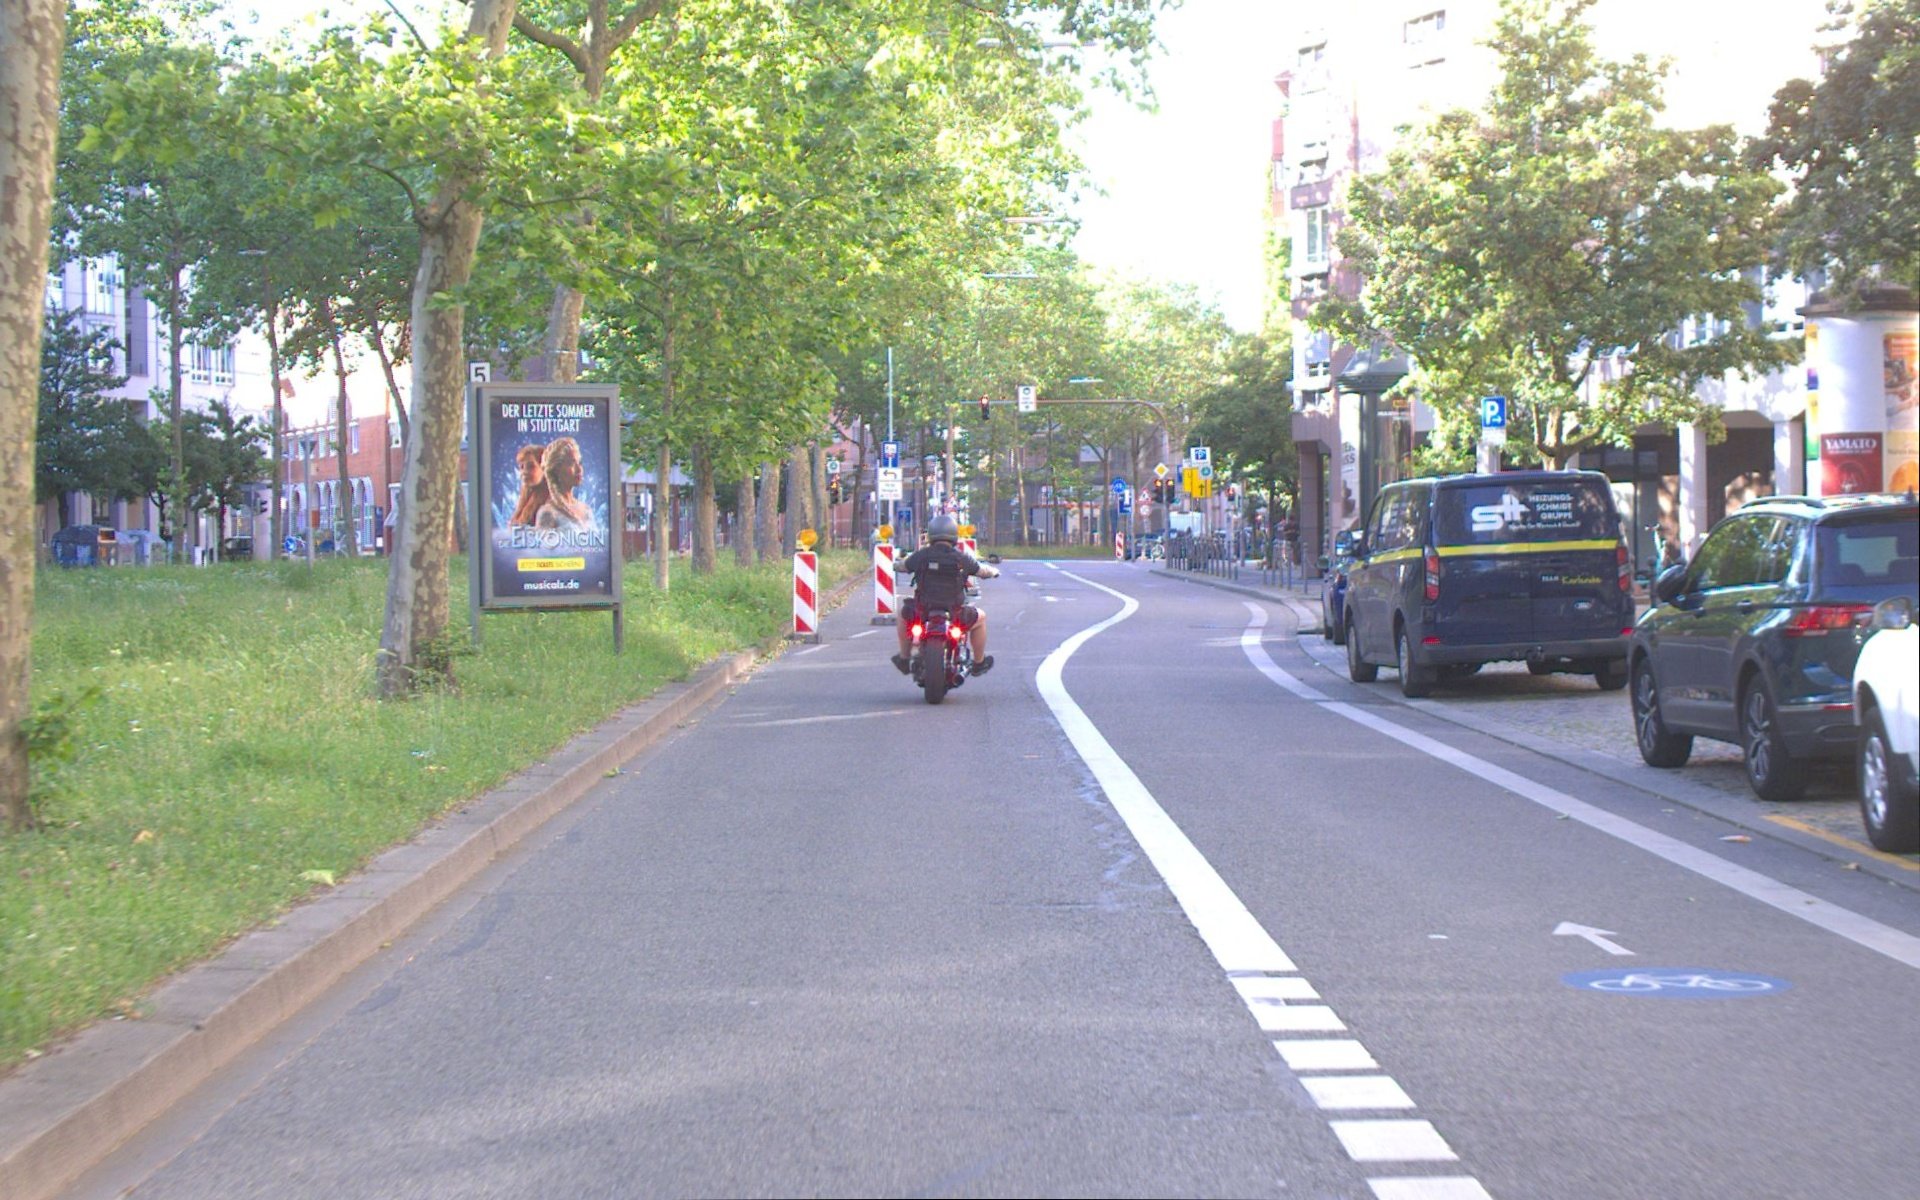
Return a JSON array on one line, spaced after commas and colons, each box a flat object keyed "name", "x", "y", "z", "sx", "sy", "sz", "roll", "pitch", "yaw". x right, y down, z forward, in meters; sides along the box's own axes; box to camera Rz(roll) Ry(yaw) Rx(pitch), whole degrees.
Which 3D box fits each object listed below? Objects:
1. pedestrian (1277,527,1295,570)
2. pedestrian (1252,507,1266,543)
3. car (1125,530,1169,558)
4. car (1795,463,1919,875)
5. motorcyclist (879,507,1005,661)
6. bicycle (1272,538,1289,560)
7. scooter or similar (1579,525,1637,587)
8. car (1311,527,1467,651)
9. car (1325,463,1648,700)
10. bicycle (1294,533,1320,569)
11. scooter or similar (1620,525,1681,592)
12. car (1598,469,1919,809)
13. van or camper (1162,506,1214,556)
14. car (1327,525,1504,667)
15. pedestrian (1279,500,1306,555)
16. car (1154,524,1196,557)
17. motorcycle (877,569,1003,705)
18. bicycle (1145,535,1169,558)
[{"name": "pedestrian", "x": 12.609, "y": -1.994, "z": 132.993, "sx": 0.460, "sy": 1.667, "sz": 0.679, "roll": 0, "pitch": 1, "yaw": 30}, {"name": "pedestrian", "x": 14.682, "y": -3.686, "z": 168.715, "sx": 0.700, "sy": 1.727, "sz": 0.767, "roll": 0, "pitch": 1, "yaw": 4}, {"name": "car", "x": 8.838, "y": -2.667, "z": 162.564, "sx": 1.621, "sy": 1.298, "sz": 4.310, "roll": 0, "pitch": 1, "yaw": 9}, {"name": "car", "x": 4.874, "y": 0.259, "z": 14.246, "sx": 1.798, "sy": 1.718, "sz": 4.460, "roll": -2, "pitch": 1, "yaw": 2}, {"name": "motorcyclist", "x": -0.160, "y": -0.145, "z": 29.151, "sx": 1.011, "sy": 1.258, "sz": 0.774, "roll": 2, "pitch": 1, "yaw": -1}, {"name": "bicycle", "x": 14.417, "y": -2.297, "z": 154.547, "sx": 0.737, "sy": 0.936, "sz": 1.752, "roll": 0, "pitch": 1, "yaw": 5}, {"name": "scooter or similar", "x": 12.786, "y": -0.868, "z": 67.870, "sx": 0.484, "sy": 1.212, "sz": 1.451, "roll": 0, "pitch": 1, "yaw": -19}, {"name": "car", "x": 5.520, "y": -0.181, "z": 44.599, "sx": 1.702, "sy": 1.478, "sz": 4.248, "roll": -1, "pitch": 1, "yaw": 3}, {"name": "car", "x": 4.744, "y": -0.219, "z": 31.757, "sx": 2.037, "sy": 1.936, "sz": 5.198, "roll": -2, "pitch": 1, "yaw": -1}, {"name": "bicycle", "x": 11.621, "y": -1.646, "z": 115.127, "sx": 0.622, "sy": 1.221, "sz": 1.925, "roll": 0, "pitch": 1, "yaw": 13}, {"name": "scooter or similar", "x": 13.188, "y": -0.800, "z": 65.673, "sx": 0.484, "sy": 1.269, "sz": 1.451, "roll": 0, "pitch": 1, "yaw": -19}, {"name": "car", "x": 5.002, "y": 0.127, "z": 19.965, "sx": 1.798, "sy": 1.718, "sz": 4.575, "roll": -2, "pitch": 1, "yaw": 2}, {"name": "van or camper", "x": 11.892, "y": -3.576, "z": 178.891, "sx": 2.050, "sy": 2.532, "sz": 5.770, "roll": 0, "pitch": 1, "yaw": 11}, {"name": "car", "x": 5.045, "y": -0.089, "z": 38.510, "sx": 1.702, "sy": 1.460, "sz": 4.175, "roll": -1, "pitch": 1, "yaw": 4}, {"name": "pedestrian", "x": 10.653, "y": -2.320, "z": 110.160, "sx": 0.781, "sy": 1.732, "sz": 0.836, "roll": 0, "pitch": 1, "yaw": 9}, {"name": "car", "x": 10.803, "y": -2.983, "z": 172.308, "sx": 1.621, "sy": 1.614, "sz": 4.483, "roll": 0, "pitch": 1, "yaw": 10}, {"name": "motorcycle", "x": -0.189, "y": 0.294, "z": 29.163, "sx": 1.018, "sy": 1.093, "sz": 2.008, "roll": 0, "pitch": 1, "yaw": -2}, {"name": "bicycle", "x": 8.907, "y": -2.433, "z": 155.410, "sx": 0.737, "sy": 1.049, "sz": 1.753, "roll": 0, "pitch": 1, "yaw": -8}]
